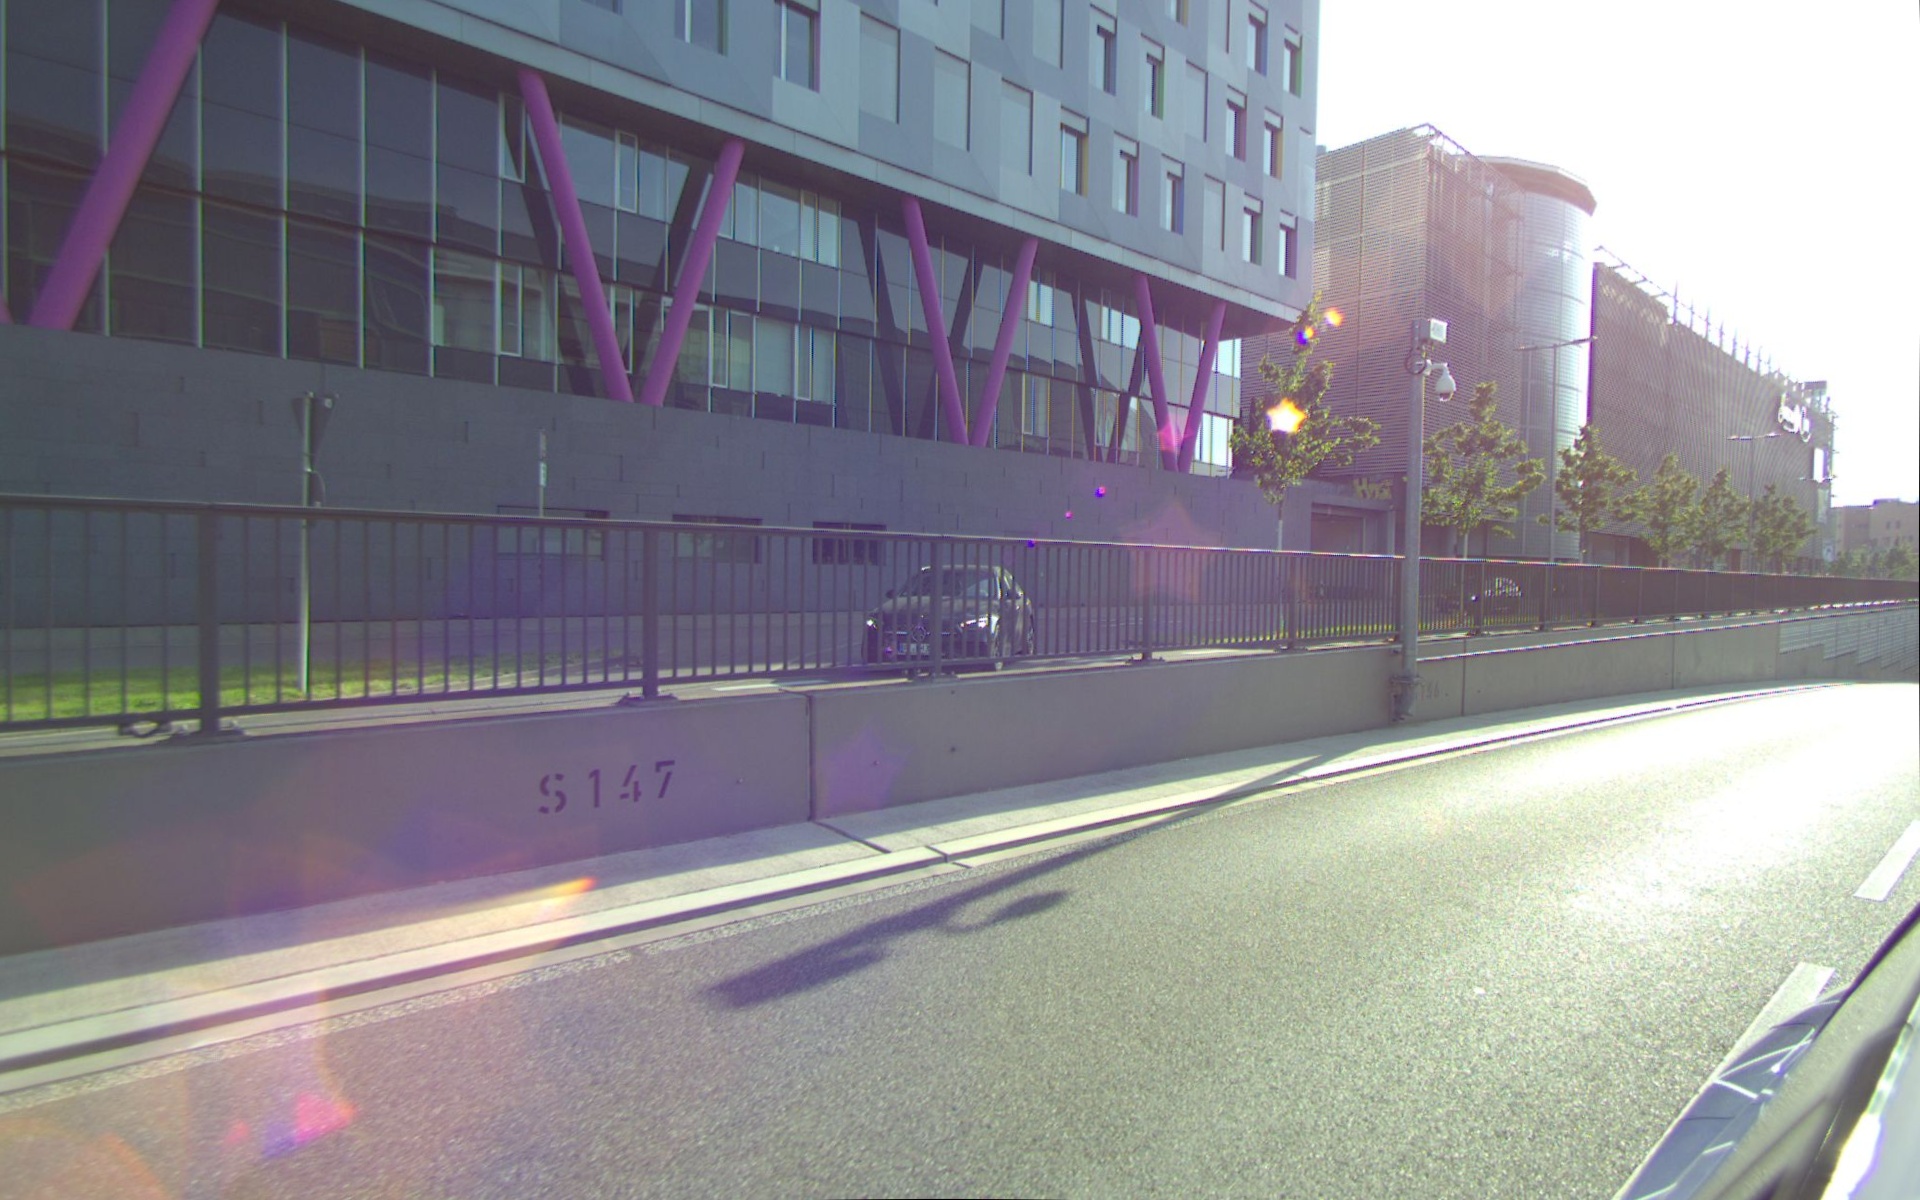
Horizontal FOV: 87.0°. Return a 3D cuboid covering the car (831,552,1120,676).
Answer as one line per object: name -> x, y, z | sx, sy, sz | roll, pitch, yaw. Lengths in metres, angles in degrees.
car -> 0.396, 0.132, 14.330 | 1.834, 1.468, 4.495 | 1, 1, 37

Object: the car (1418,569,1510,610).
car -> 20.280, -0.452, 40.655 | 4.399, 1.444, 1.892 | -3, 3, -43
